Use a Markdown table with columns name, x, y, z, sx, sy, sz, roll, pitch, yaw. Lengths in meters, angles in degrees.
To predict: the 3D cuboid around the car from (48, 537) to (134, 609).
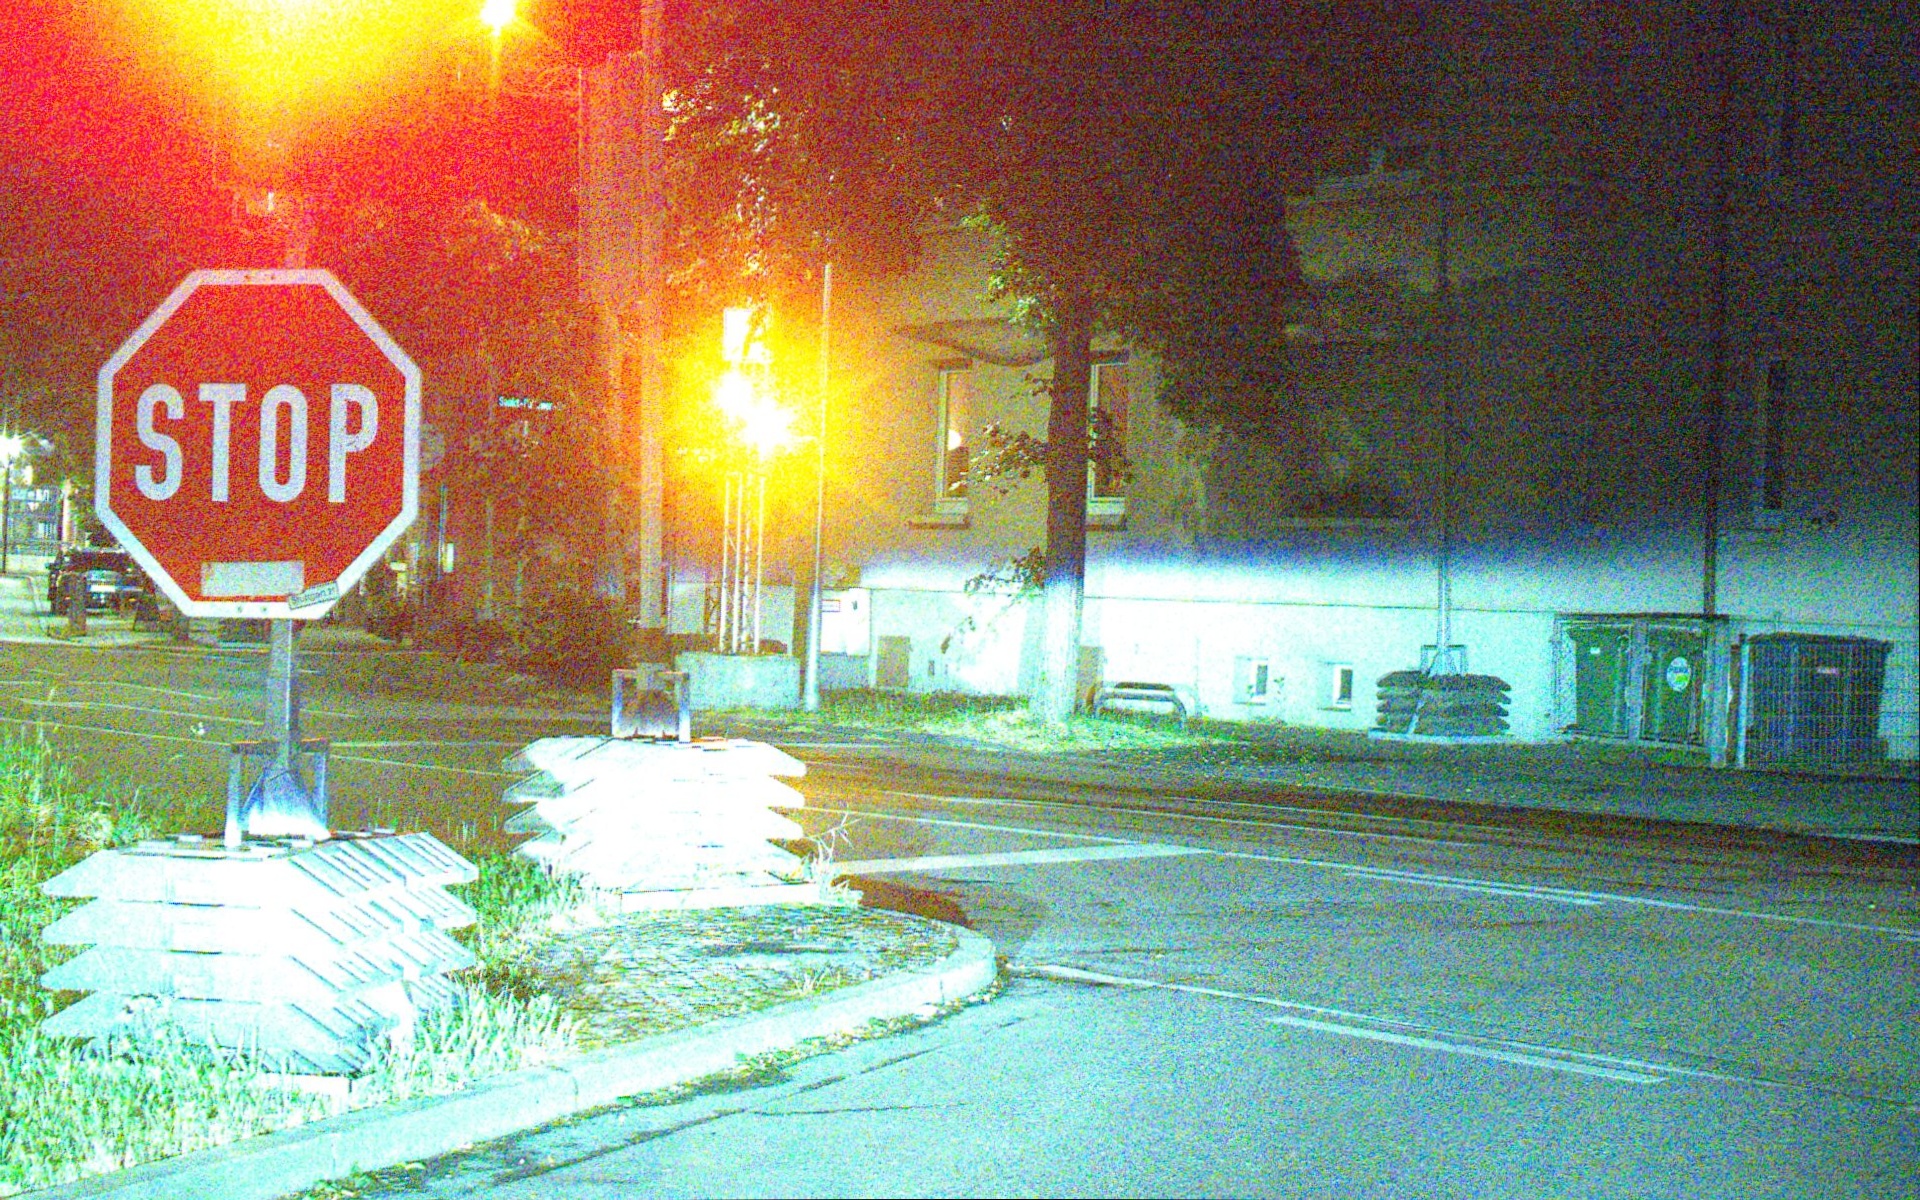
| name | x | y | z | sx | sy | sz | roll | pitch | yaw |
| --- | --- | --- | --- | --- | --- | --- | --- | --- | --- |
| car | -18.147 | -0.579 | 71.825 | 1.651 | 1.426 | 4.001 | 2 | 1 | -14 |
